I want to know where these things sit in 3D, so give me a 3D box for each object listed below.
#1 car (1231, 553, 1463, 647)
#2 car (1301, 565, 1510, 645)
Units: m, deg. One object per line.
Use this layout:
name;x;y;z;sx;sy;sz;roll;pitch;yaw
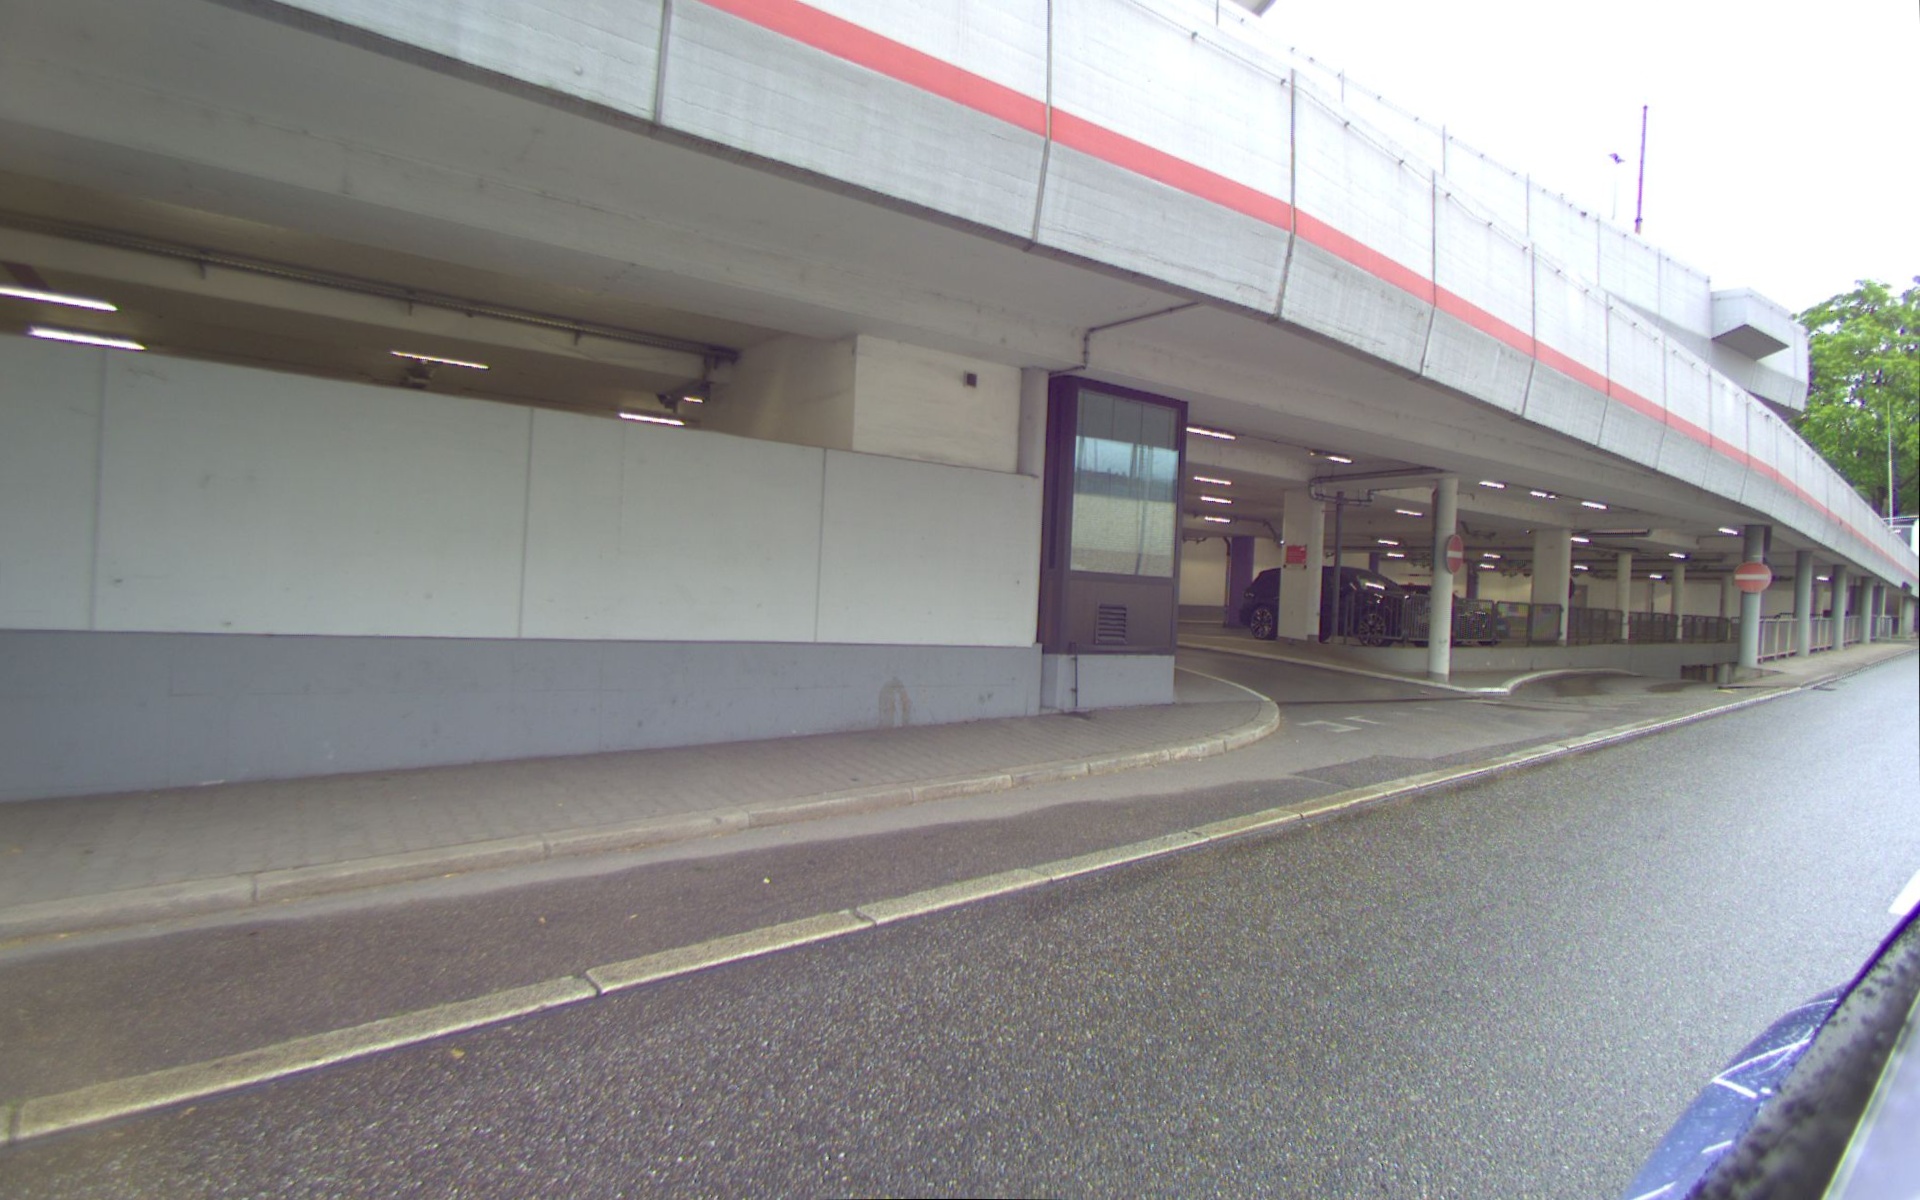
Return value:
car;8.160;-0.021;21.720;1.960;1.682;4.261;5;-2;-31
car;10.759;0.087;24.761;1.960;1.682;4.261;5;-2;-31
